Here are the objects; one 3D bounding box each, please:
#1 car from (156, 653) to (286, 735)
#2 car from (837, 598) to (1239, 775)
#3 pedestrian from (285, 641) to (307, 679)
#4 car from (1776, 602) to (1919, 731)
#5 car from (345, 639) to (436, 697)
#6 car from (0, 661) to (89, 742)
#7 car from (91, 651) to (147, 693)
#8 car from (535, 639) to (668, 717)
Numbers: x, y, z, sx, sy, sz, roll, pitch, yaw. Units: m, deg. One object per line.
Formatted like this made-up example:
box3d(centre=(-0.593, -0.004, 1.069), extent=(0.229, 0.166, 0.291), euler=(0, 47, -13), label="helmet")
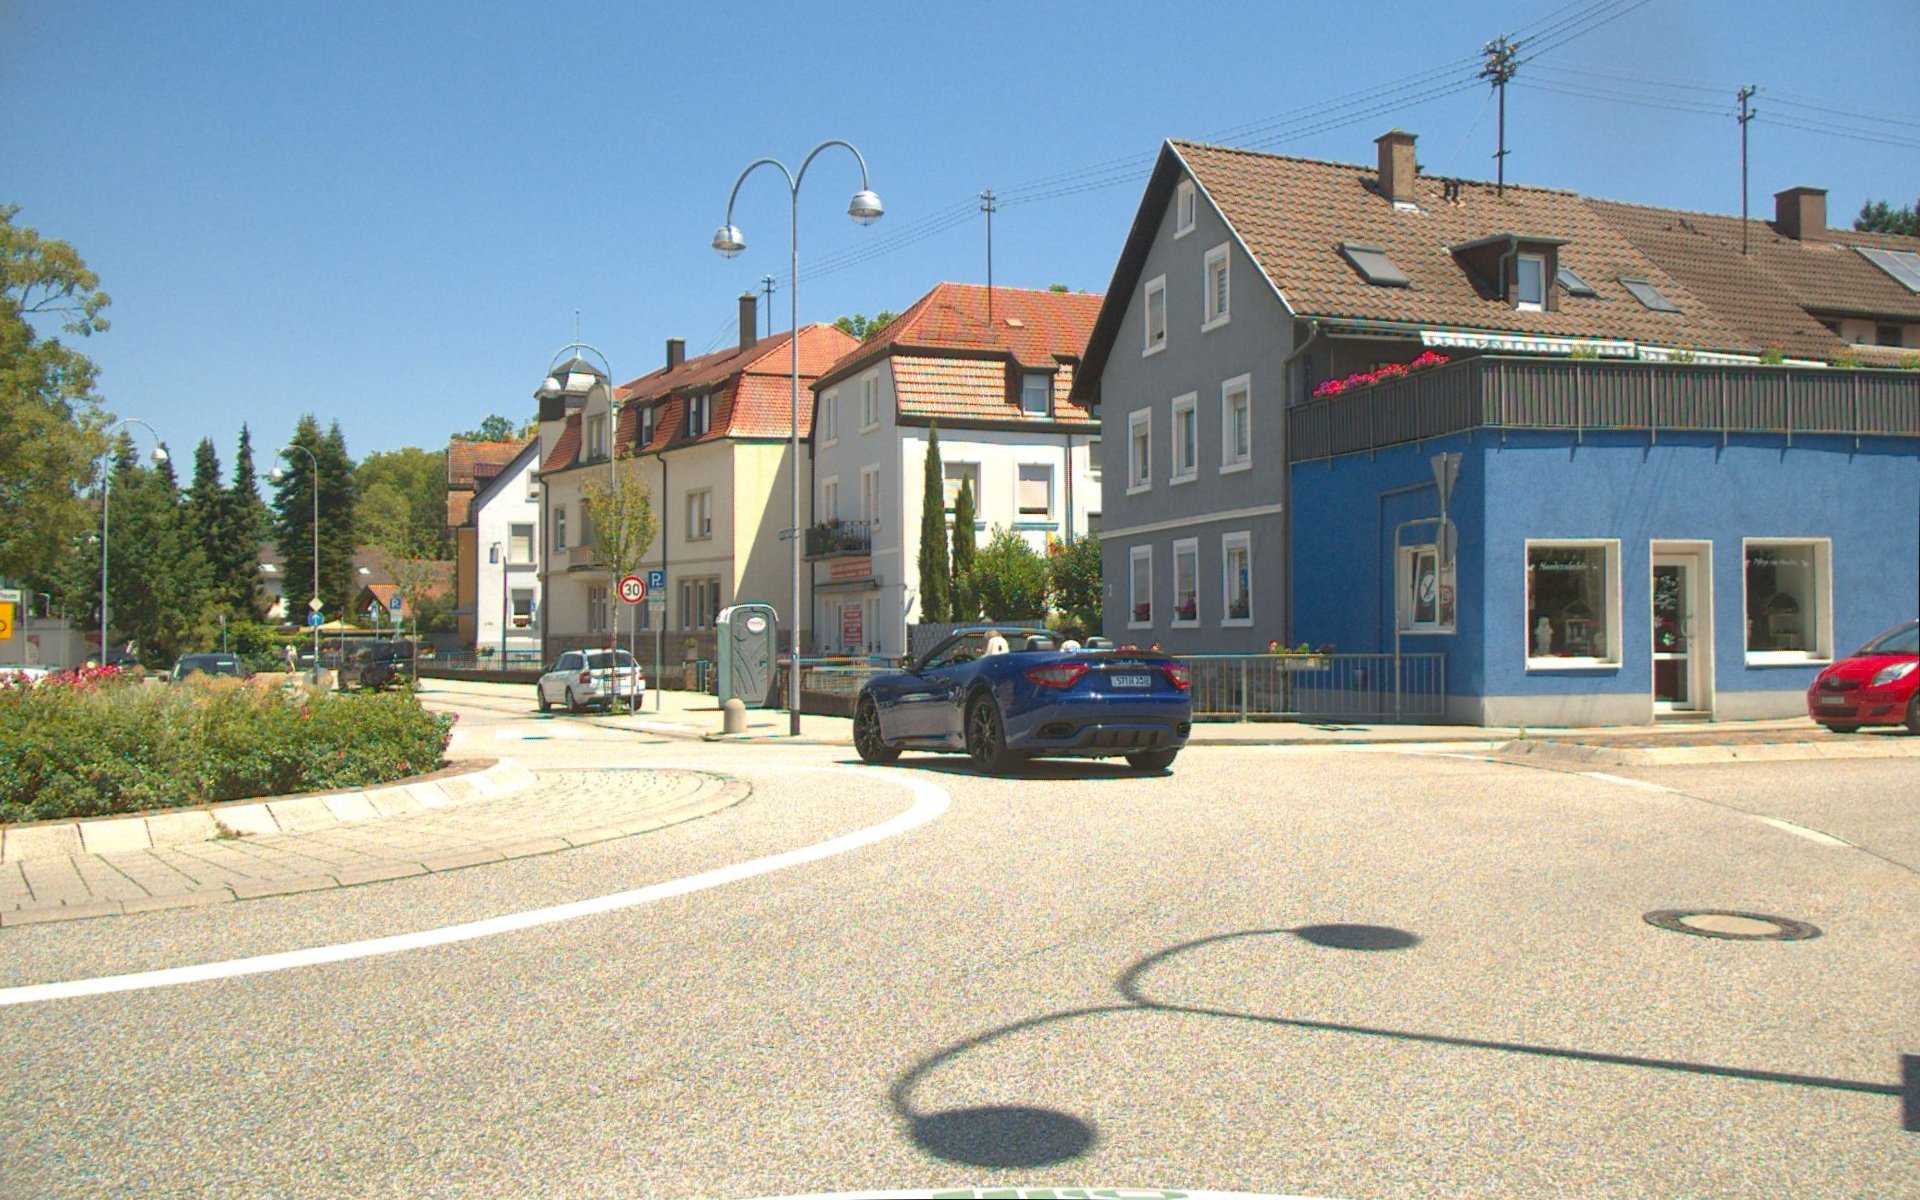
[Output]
box3d(centre=(-17.172, 2.135, 38.624), extent=(1.960, 1.718, 4.509), euler=(-2, -1, -14), label="car")
box3d(centre=(0.543, 0.818, 15.821), extent=(1.951, 1.423, 4.589), euler=(2, -3, -25), label="car")
box3d(centre=(-32.617, 2.945, 81.236), extent=(0.838, 1.846, 0.541), euler=(2, -1, -43), label="pedestrian")
box3d(centre=(12.940, 0.831, 21.438), extent=(3.915, 1.560, 1.830), euler=(0, -2, -10), label="car")
box3d(centre=(-20.697, 2.434, 60.052), extent=(1.977, 1.898, 4.233), euler=(2, -1, -36), label="car")
box3d(centre=(-20.495, 2.194, 36.259), extent=(1.768, 1.618, 3.979), euler=(2, -2, -18), label="car")
box3d(centre=(-37.151, 3.152, 73.152), extent=(1.968, 1.718, 4.491), euler=(-1, -1, -25), label="car")
box3d(centre=(-8.793, 1.878, 40.297), extent=(1.972, 1.611, 4.246), euler=(-5, 0, -28), label="car")
